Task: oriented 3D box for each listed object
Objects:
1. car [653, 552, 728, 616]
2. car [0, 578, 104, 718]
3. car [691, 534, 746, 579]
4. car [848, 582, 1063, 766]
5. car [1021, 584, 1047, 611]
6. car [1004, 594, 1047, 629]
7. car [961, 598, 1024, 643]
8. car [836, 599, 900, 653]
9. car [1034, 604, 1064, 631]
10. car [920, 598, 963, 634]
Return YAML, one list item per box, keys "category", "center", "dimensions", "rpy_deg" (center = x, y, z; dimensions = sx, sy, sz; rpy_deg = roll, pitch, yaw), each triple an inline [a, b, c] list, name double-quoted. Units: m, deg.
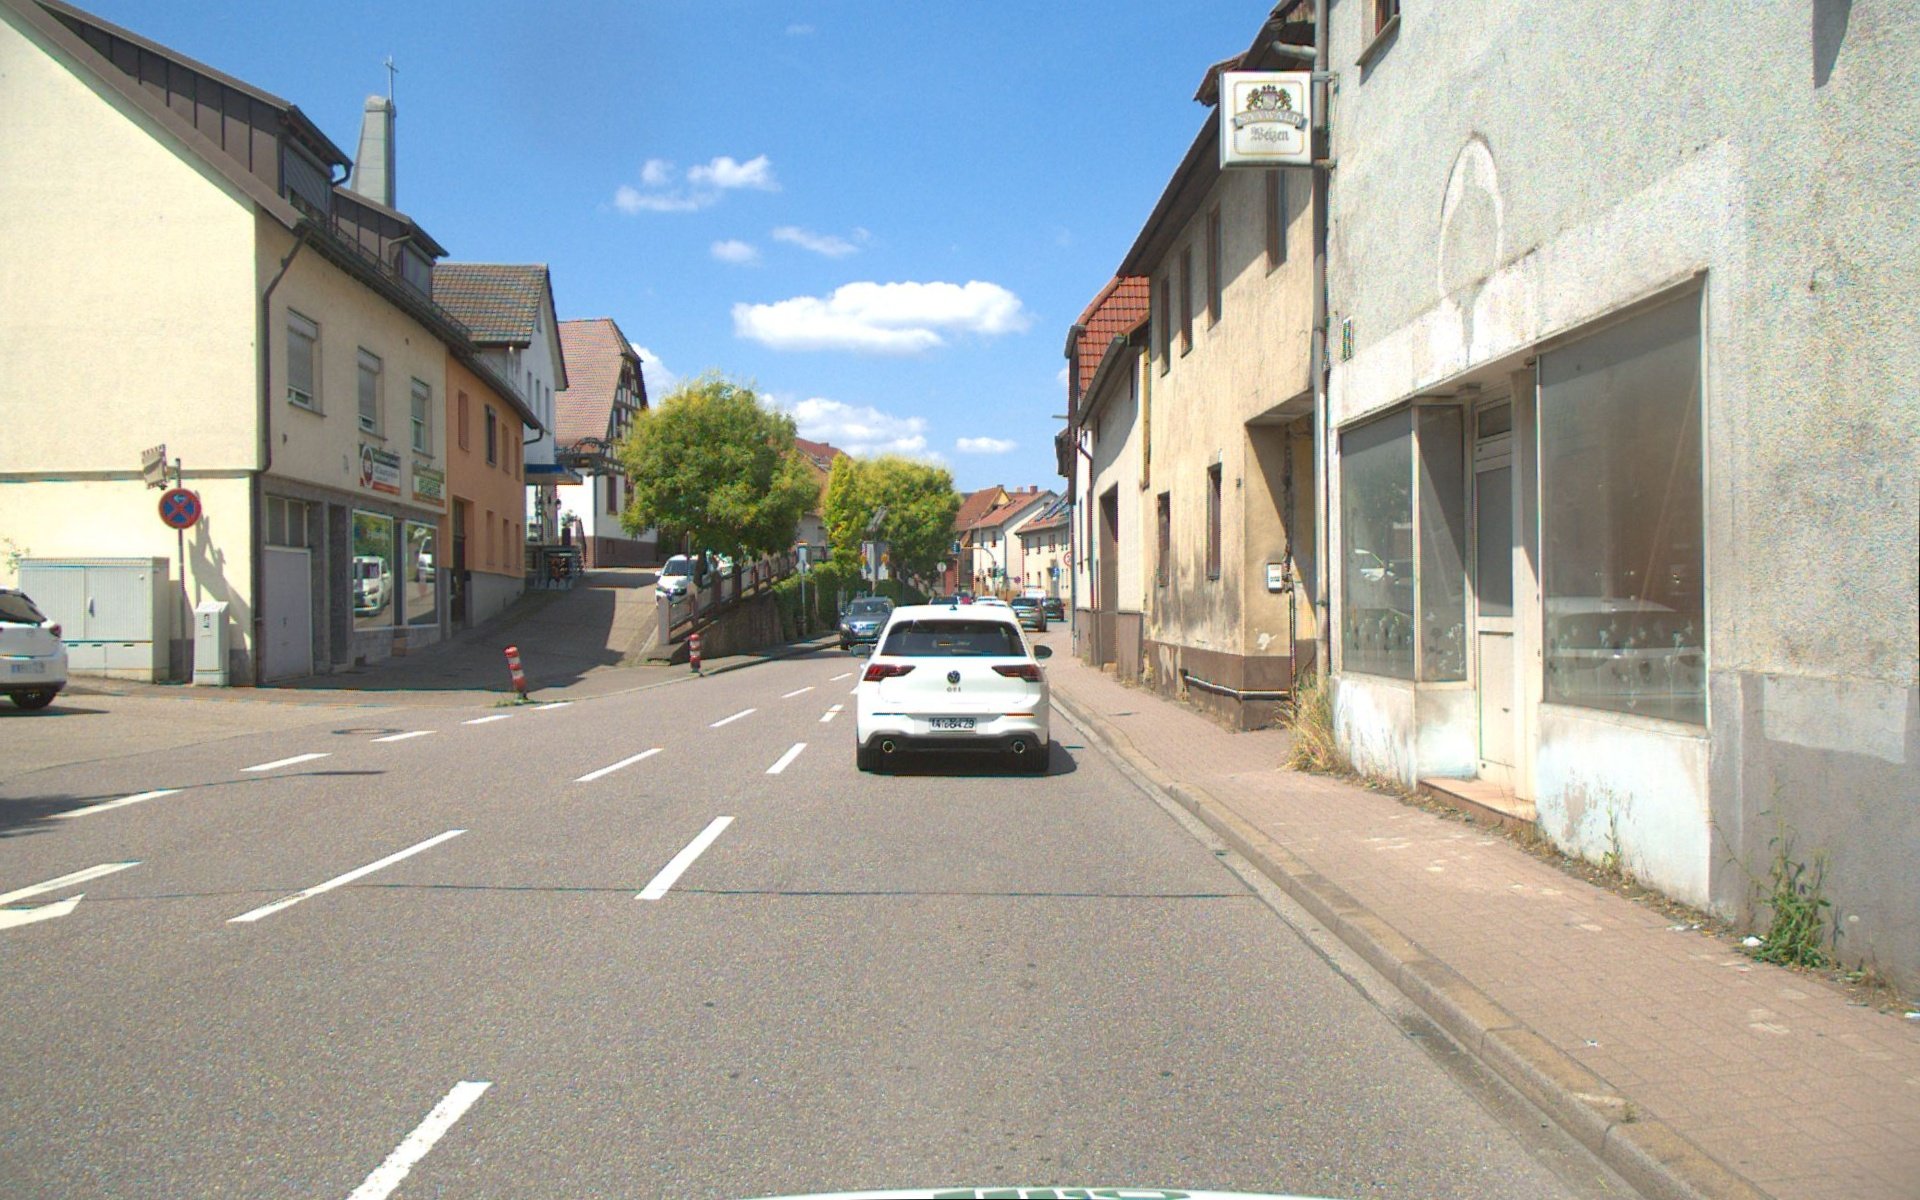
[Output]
- category: "car"
  center: [-8.078, -0.521, 49.822]
  dimensions: [1.659, 1.569, 3.857]
  rpy_deg: [0, 6, -1]
- category: "car"
  center: [-12.458, 0.458, 19.498]
  dimensions: [3.902, 1.493, 1.815]
  rpy_deg: [3, 1, 12]
- category: "car"
  center: [-9.018, -1.659, 61.899]
  dimensions: [1.544, 1.385, 3.857]
  rpy_deg: [0, 6, -1]
- category: "car"
  center: [-0.003, 0.624, 15.829]
  dimensions: [1.770, 1.493, 4.000]
  rpy_deg: [1, 0, 1]
- category: "car"
  center: [5.180, -0.180, 116.507]
  dimensions: [1.739, 1.796, 4.001]
  rpy_deg: [0, 0, 1]
- category: "car"
  center: [3.019, 0.501, 76.848]
  dimensions: [1.739, 1.565, 3.999]
  rpy_deg: [0, 0, -1]
- category: "car"
  center: [1.192, 0.696, 58.451]
  dimensions: [1.769, 1.493, 4.003]
  rpy_deg: [1, 0, 7]
- category: "car"
  center: [-2.980, 0.828, 54.299]
  dimensions: [1.721, 1.664, 4.050]
  rpy_deg: [-1, 0, 2]
- category: "car"
  center: [5.417, 1.050, 101.004]
  dimensions: [1.739, 1.565, 4.001]
  rpy_deg: [0, 0, 1]
- category: "car"
  center: [-0.849, 0.737, 77.987]
  dimensions: [1.804, 1.608, 4.446]
  rpy_deg: [-1, 0, 2]
